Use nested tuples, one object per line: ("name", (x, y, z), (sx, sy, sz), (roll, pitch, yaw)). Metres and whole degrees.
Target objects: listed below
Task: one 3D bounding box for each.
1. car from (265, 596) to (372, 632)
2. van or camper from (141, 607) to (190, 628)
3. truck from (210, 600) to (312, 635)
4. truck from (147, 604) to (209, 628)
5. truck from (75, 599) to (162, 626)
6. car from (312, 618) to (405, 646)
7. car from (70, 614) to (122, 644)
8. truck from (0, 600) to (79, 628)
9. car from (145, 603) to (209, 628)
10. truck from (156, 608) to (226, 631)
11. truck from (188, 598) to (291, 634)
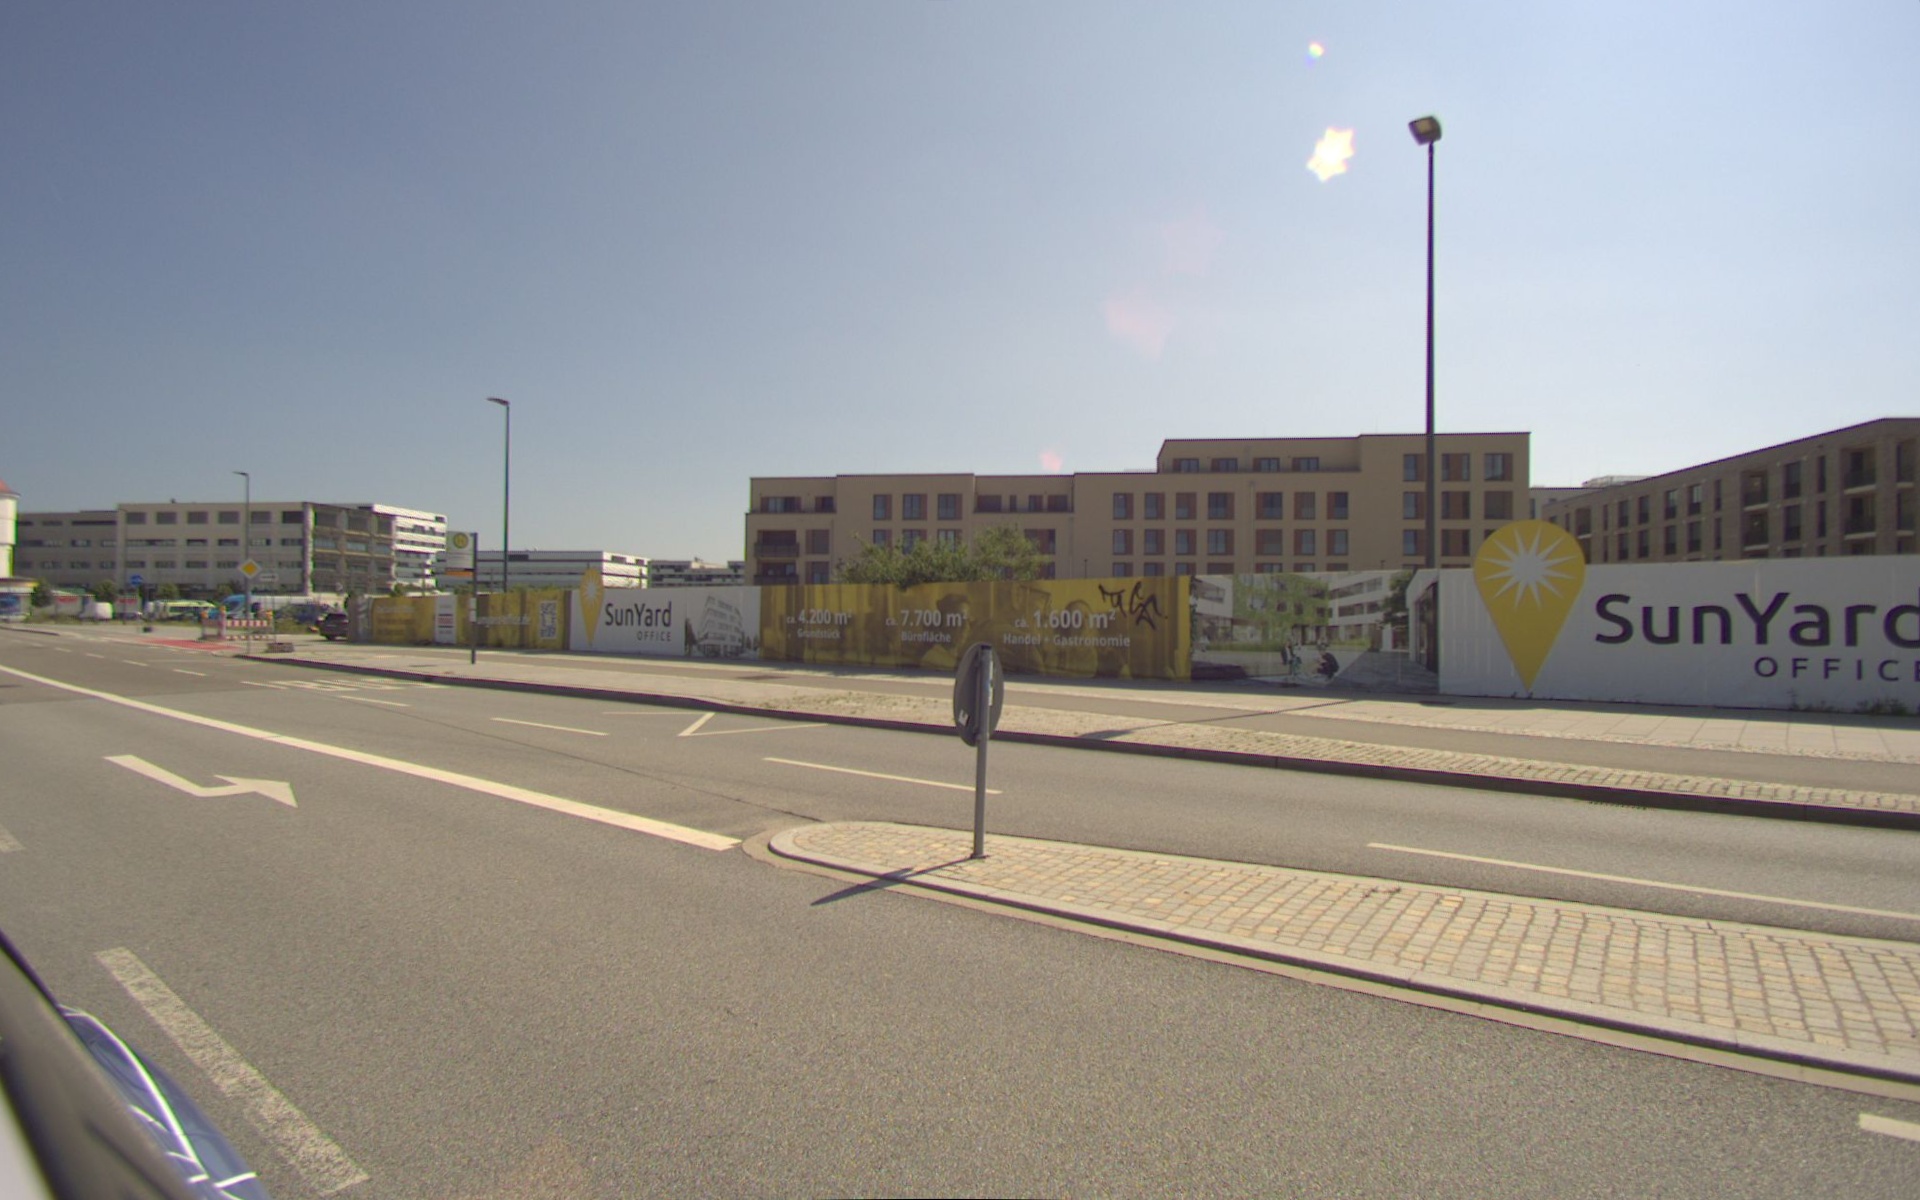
("car", (-41.876, 0.956, 66.221), (2.391, 2.190, 5.393), (-1, -2, 37))
("van or camper", (-105.779, 2.303, 134.788), (2.258, 2.682, 4.850), (-1, -1, 40))
("truck", (-49.600, 1.287, 71.945), (2.272, 2.381, 5.512), (-1, -2, 39))
("truck", (-102.367, 2.111, 132.483), (2.569, 2.923, 6.081), (1, 1, 41))
("truck", (-140.732, 1.980, 169.504), (3.330, 4.307, 10.843), (1, 1, 29))
("car", (-30.724, 1.625, 51.825), (1.975, 1.328, 4.240), (0, -2, 5))
("car", (-46.755, 1.538, 54.746), (3.677, 1.488, 1.590), (0, -3, 42))
("truck", (-145.587, 2.171, 158.820), (3.280, 4.098, 10.898), (0, 1, 22))
("car", (-63.501, 1.274, 82.120), (3.939, 1.918, 1.829), (2, -2, -43))
("truck", (-96.393, 2.415, 126.910), (2.595, 2.847, 6.583), (-1, -1, 33))
("truck", (-54.645, 1.266, 76.850), (2.273, 2.563, 5.942), (-1, -2, 40))
